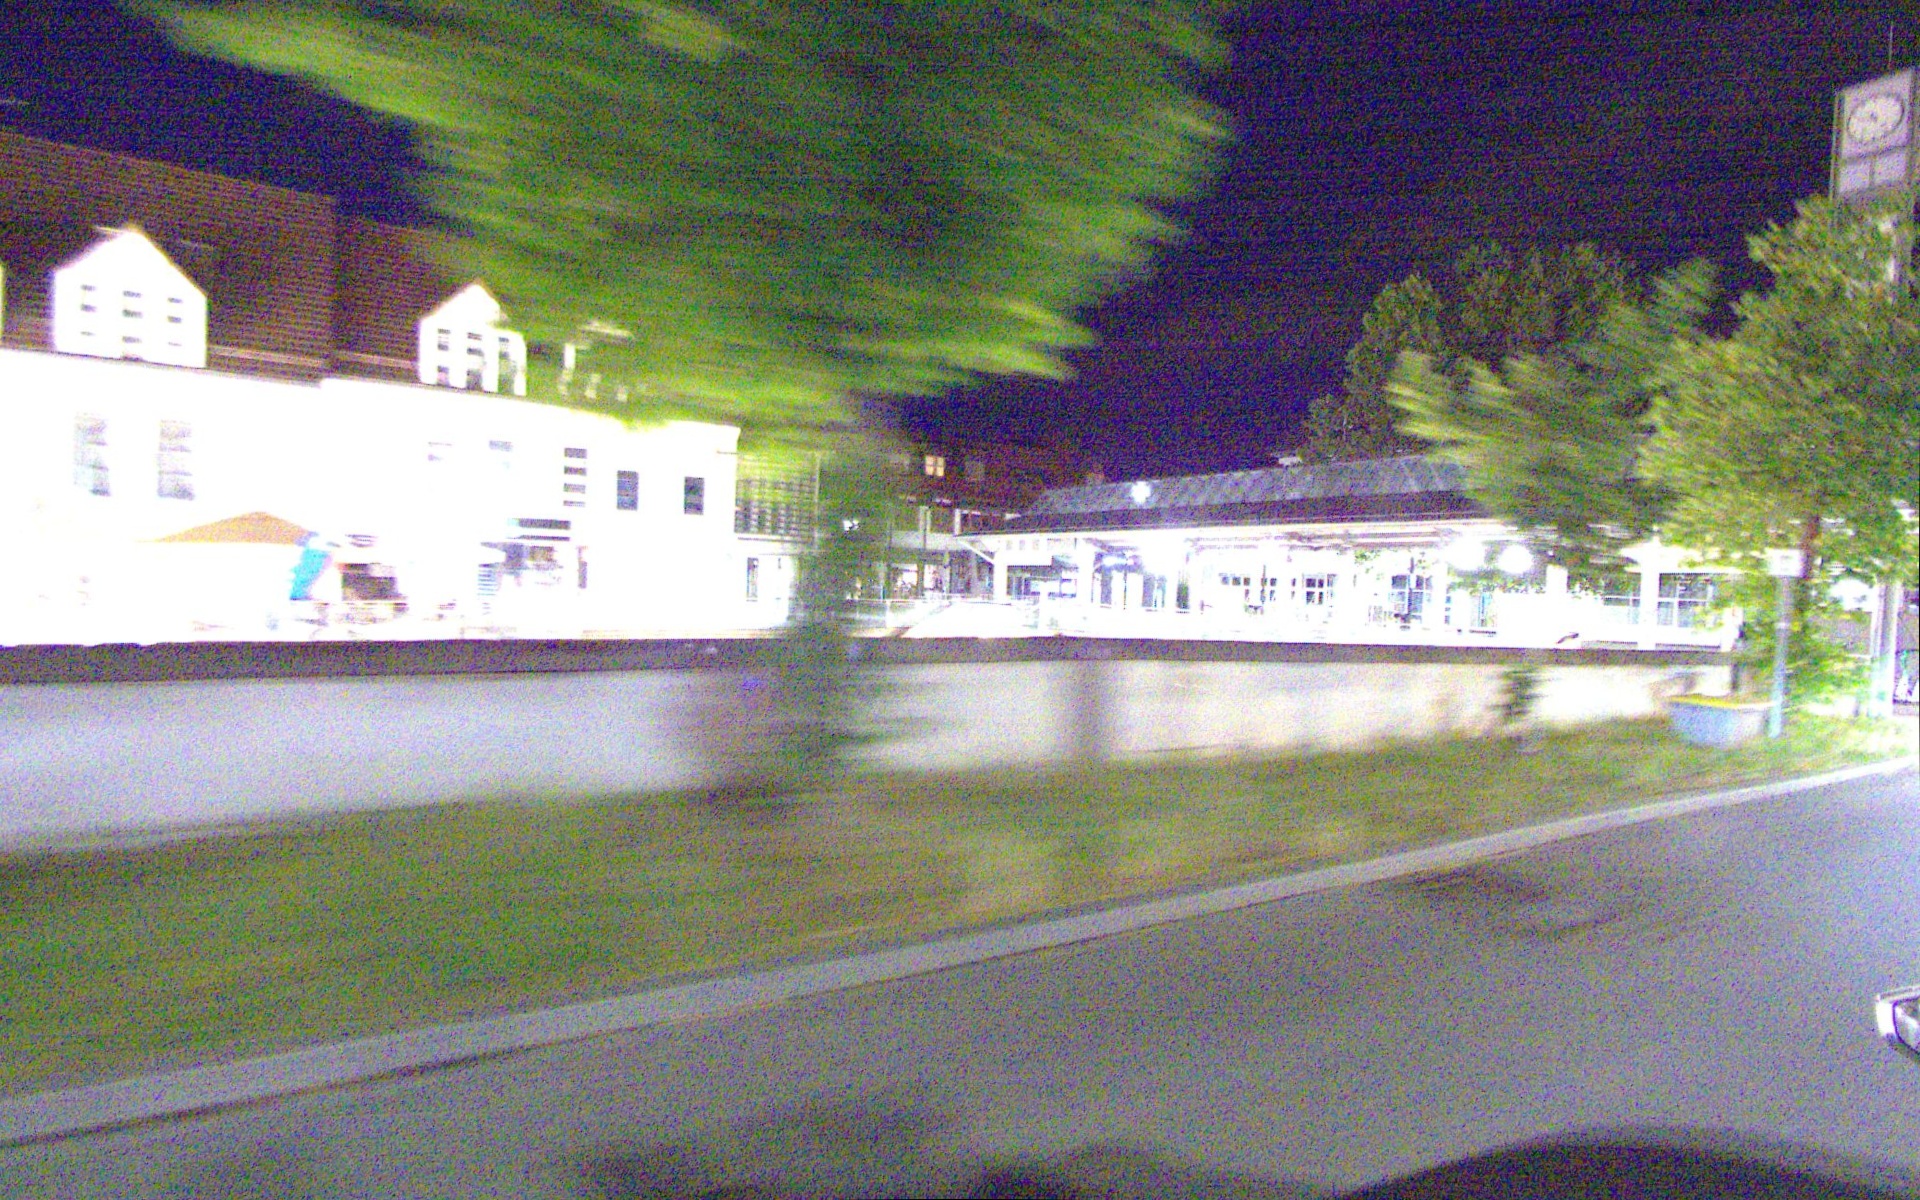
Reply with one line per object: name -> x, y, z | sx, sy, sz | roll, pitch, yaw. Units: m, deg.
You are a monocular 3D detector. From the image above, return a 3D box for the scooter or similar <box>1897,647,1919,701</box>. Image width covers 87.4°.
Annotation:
scooter or similar -> 21.027, 1.617, 22.096 | 0.994, 1.150, 0.427 | 0, 0, -37

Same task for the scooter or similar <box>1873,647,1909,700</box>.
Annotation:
scooter or similar -> 20.832, 1.635, 22.473 | 0.994, 1.121, 0.427 | 0, 0, -37

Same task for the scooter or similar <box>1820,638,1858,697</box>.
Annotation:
scooter or similar -> 20.271, 1.537, 23.157 | 1.136, 1.302, 0.427 | 0, 0, -37
